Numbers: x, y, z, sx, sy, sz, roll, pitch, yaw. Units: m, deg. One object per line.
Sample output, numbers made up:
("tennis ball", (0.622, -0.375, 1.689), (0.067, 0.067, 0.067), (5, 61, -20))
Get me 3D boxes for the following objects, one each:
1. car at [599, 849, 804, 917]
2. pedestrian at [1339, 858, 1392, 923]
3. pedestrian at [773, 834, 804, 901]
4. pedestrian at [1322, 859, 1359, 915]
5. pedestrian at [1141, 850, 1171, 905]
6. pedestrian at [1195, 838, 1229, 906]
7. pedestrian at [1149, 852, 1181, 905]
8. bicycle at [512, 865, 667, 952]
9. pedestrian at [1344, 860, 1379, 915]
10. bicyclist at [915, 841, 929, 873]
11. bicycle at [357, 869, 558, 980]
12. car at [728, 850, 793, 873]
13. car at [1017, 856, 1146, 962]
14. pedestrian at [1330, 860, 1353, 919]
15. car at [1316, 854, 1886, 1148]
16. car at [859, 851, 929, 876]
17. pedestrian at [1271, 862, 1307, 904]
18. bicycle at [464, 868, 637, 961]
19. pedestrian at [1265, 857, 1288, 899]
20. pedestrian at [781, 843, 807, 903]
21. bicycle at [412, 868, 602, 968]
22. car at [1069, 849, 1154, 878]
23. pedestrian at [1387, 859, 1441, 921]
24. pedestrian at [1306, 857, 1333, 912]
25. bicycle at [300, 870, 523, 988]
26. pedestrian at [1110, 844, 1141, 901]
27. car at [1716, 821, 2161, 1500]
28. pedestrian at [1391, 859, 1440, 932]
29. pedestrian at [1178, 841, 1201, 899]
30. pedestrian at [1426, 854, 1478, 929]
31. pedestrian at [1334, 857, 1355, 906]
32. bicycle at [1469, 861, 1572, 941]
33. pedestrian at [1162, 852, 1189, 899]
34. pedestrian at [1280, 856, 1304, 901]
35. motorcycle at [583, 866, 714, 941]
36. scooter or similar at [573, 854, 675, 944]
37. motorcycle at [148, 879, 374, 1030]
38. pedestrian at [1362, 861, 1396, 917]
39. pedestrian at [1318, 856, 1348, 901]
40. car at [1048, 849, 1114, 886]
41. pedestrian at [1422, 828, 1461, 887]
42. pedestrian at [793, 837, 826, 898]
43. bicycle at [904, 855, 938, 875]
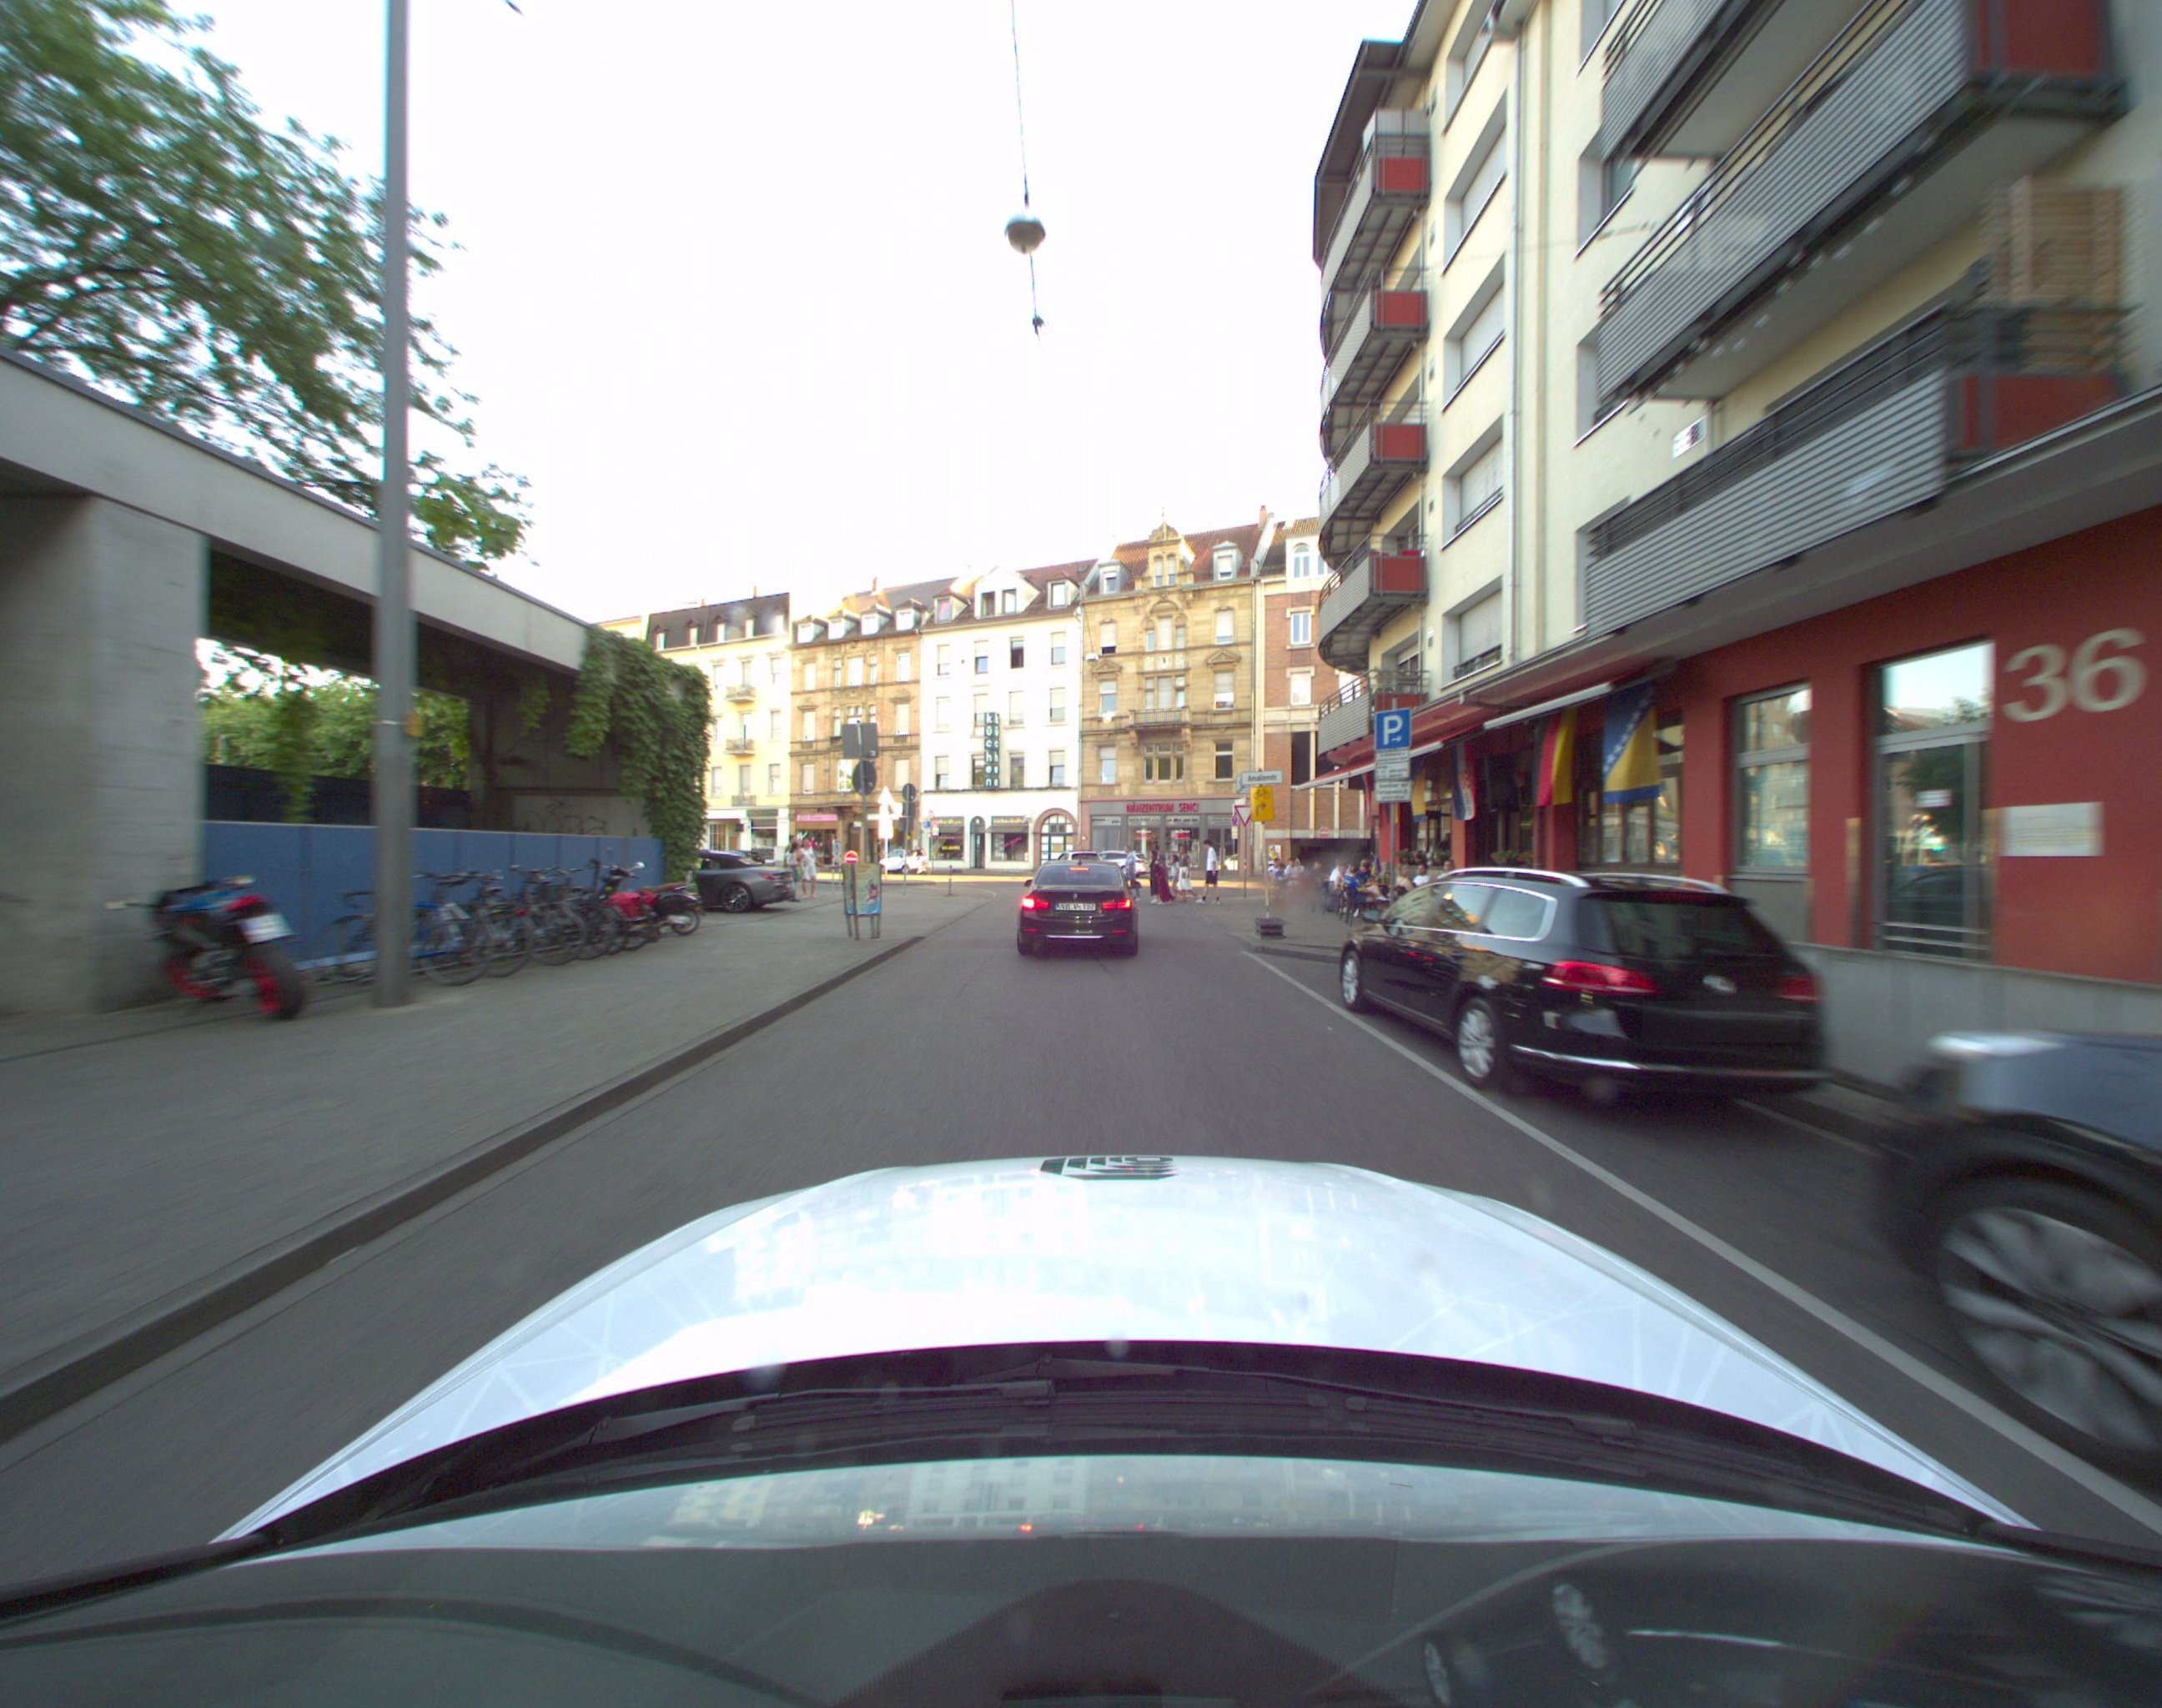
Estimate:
("car", (-8.856, 0.635, 19.319), (3.984, 1.501, 1.886), (0, 0, -8))
("pedestrian", (5.771, 0.732, 16.522), (0.856, 1.257, 0.491), (-3, 0, 0))
("pedestrian", (-8.287, 0.384, 23.110), (0.580, 1.882, 0.634), (0, 0, 6))
("pedestrian", (6.180, 0.778, 19.384), (0.631, 1.276, 0.505), (-3, 0, -37))
("pedestrian", (2.236, 0.703, 24.295), (0.724, 1.609, 0.648), (2, 0, -9))
("pedestrian", (3.704, 0.483, 22.958), (0.692, 1.877, 0.682), (1, 0, 35))
("pedestrian", (2.432, 0.706, 23.654), (0.735, 1.513, 0.648), (2, 0, -9))
("bicycle", (-6.736, 0.741, 11.197), (1.788, 1.107, 0.500), (2, 0, 0))
("pedestrian", (6.396, 0.759, 18.579), (0.421, 1.201, 0.562), (-3, 0, -41))
("bicyclist", (-8.961, 0.166, 45.895), (0.613, 1.756, 0.527), (1, 0, 12))
("bicycle", (-6.763, 0.746, 8.870), (1.787, 1.107, 0.500), (2, 0, 2))
("car", (-21.741, 0.487, 55.193), (3.952, 1.510, 1.810), (0, -1, 22))
("car", (0.041, 0.768, 13.626), (1.759, 1.375, 4.791), (1, 0, 1))
("pedestrian", (5.698, 0.773, 17.804), (0.340, 1.257, 0.362), (-3, 0, 32))
("car", (3.550, 0.810, 6.869), (1.759, 1.502, 4.791), (2, 0, 1))
("car", (-11.699, 0.587, 50.907), (3.952, 1.510, 1.810), (0, -1, 22))
("pedestrian", (5.818, 0.796, 22.817), (0.885, 1.149, 0.620), (0, 0, 7))
("bicycle", (-6.694, 0.755, 10.323), (1.790, 1.107, 0.499), (2, 0, -3))
("pedestrian", (5.977, 0.739, 24.915), (0.614, 1.254, 0.737), (0, 0, 6))
("pedestrian", (-7.921, 0.512, 22.482), (0.498, 1.643, 0.521), (0, 0, 2))
("bicycle", (-6.737, 0.749, 9.619), (1.791, 1.107, 0.499), (2, 0, -5))
("car", (1.687, 0.541, 45.076), (4.313, 1.562, 1.879), (0, -1, 22))
("pedestrian", (6.965, 0.734, 17.055), (0.776, 1.223, 0.714), (-3, 0, 0))
("pedestrian", (5.866, 0.745, 20.053), (0.489, 1.303, 0.418), (-3, 0, 0))
("bicycle", (-6.763, 0.744, 8.276), (1.789, 1.107, 0.500), (2, 0, -1))
("pedestrian", (1.388, 0.560, 25.165), (0.891, 1.725, 0.609), (1, 2, 6))
("car", (3.515, 0.786, 0.978), (1.759, 1.642, 4.790), (2, 0, 0))
("pedestrian", (6.025, 0.736, 14.687), (0.683, 1.286, 0.610), (-1, -1, 9))
("pedestrian", (3.337, 0.486, 25.051), (0.664, 1.746, 0.608), (0, 0, 6))
("pedestrian", (6.841, 0.678, 15.040), (0.605, 1.348, 0.696), (-1, 0, -1))
("pedestrian", (6.998, 0.730, 21.660), (0.486, 1.276, 0.523), (0, 0, 13))
("bicycle", (6.831, 0.716, 12.748), (0.534, 1.154, 1.741), (-1, -2, -4))
("pedestrian", (2.966, 0.664, 25.605), (0.812, 1.474, 0.607), (0, 0, 4))
("pedestrian", (6.128, 0.713, 23.680), (0.613, 1.284, 0.661), (0, 0, 8))
("motorcycle", (-6.814, 0.768, 12.876), (1.758, 1.101, 0.561), (2, 0, -34))
("scooter or similar", (-6.695, 0.656, 11.980), (1.207, 1.274, 0.420), (2, 0, -16))
("motorcycle", (-6.891, 0.776, 6.842), (1.784, 1.064, 0.769), (1, 0, 26))
("pedestrian", (6.548, 0.762, 17.903), (0.421, 1.201, 0.531), (-3, 0, -43))
("pedestrian", (7.233, 0.688, 23.407), (0.611, 1.279, 0.705), (0, 0, 37))
("car", (-0.076, 0.538, 34.648), (1.881, 1.473, 3.980), (0, 0, -15))
("pedestrian", (10.140, 0.101, 22.889), (0.716, 1.607, 0.682), (1, 0, -26))
("pedestrian", (-7.947, 0.390, 23.848), (0.665, 1.746, 0.661), (0, 0, 40))
("bicycle", (-9.010, 0.597, 45.906), (1.782, 1.107, 0.540), (1, 0, 12))
